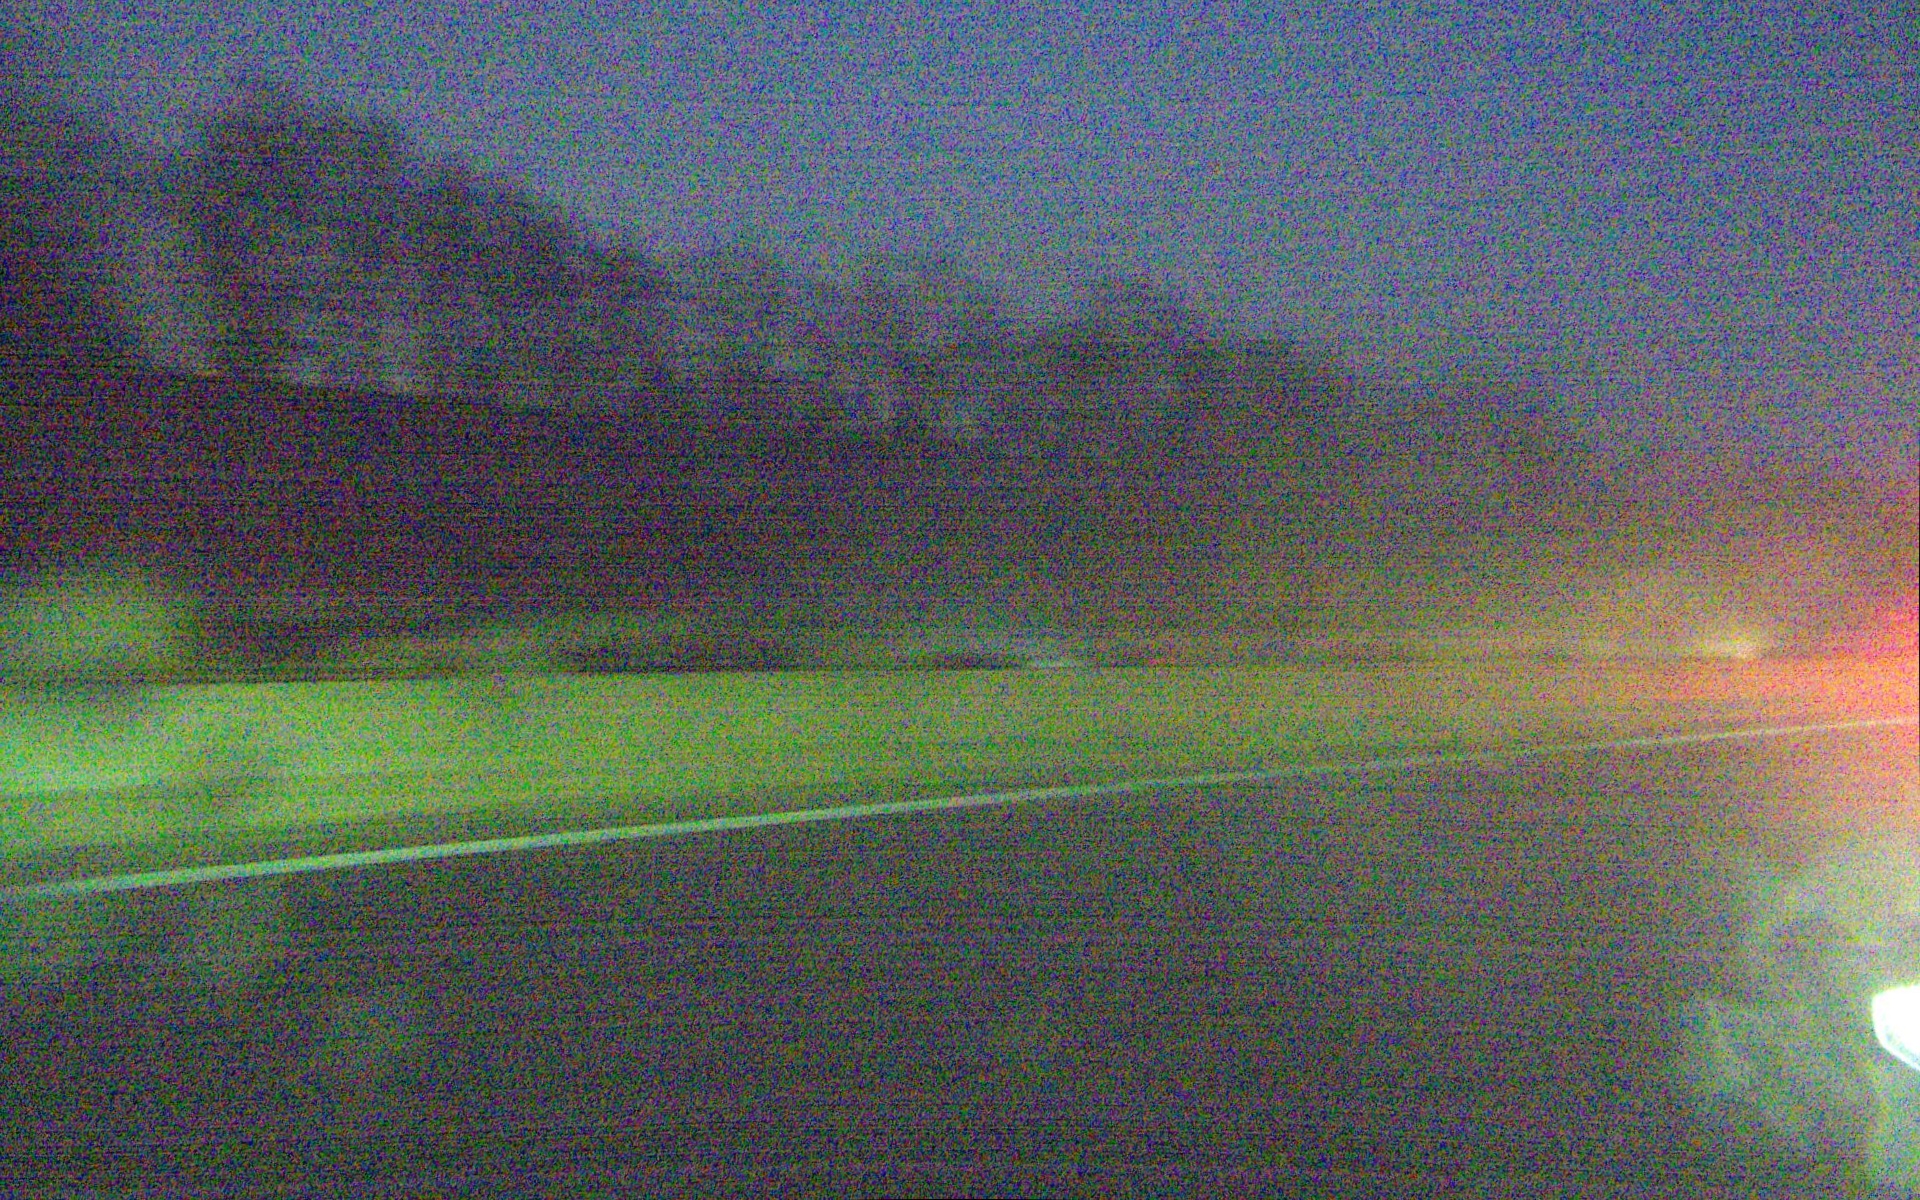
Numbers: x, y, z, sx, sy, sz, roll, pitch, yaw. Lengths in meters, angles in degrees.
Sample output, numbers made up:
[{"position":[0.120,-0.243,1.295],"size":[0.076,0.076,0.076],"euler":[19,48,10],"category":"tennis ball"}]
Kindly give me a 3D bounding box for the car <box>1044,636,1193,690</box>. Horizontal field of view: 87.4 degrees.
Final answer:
[{"position":[5.019,1.936,31.741],"size":[4.355,1.506,1.984],"euler":[1,1,-30],"category":"car"}]
